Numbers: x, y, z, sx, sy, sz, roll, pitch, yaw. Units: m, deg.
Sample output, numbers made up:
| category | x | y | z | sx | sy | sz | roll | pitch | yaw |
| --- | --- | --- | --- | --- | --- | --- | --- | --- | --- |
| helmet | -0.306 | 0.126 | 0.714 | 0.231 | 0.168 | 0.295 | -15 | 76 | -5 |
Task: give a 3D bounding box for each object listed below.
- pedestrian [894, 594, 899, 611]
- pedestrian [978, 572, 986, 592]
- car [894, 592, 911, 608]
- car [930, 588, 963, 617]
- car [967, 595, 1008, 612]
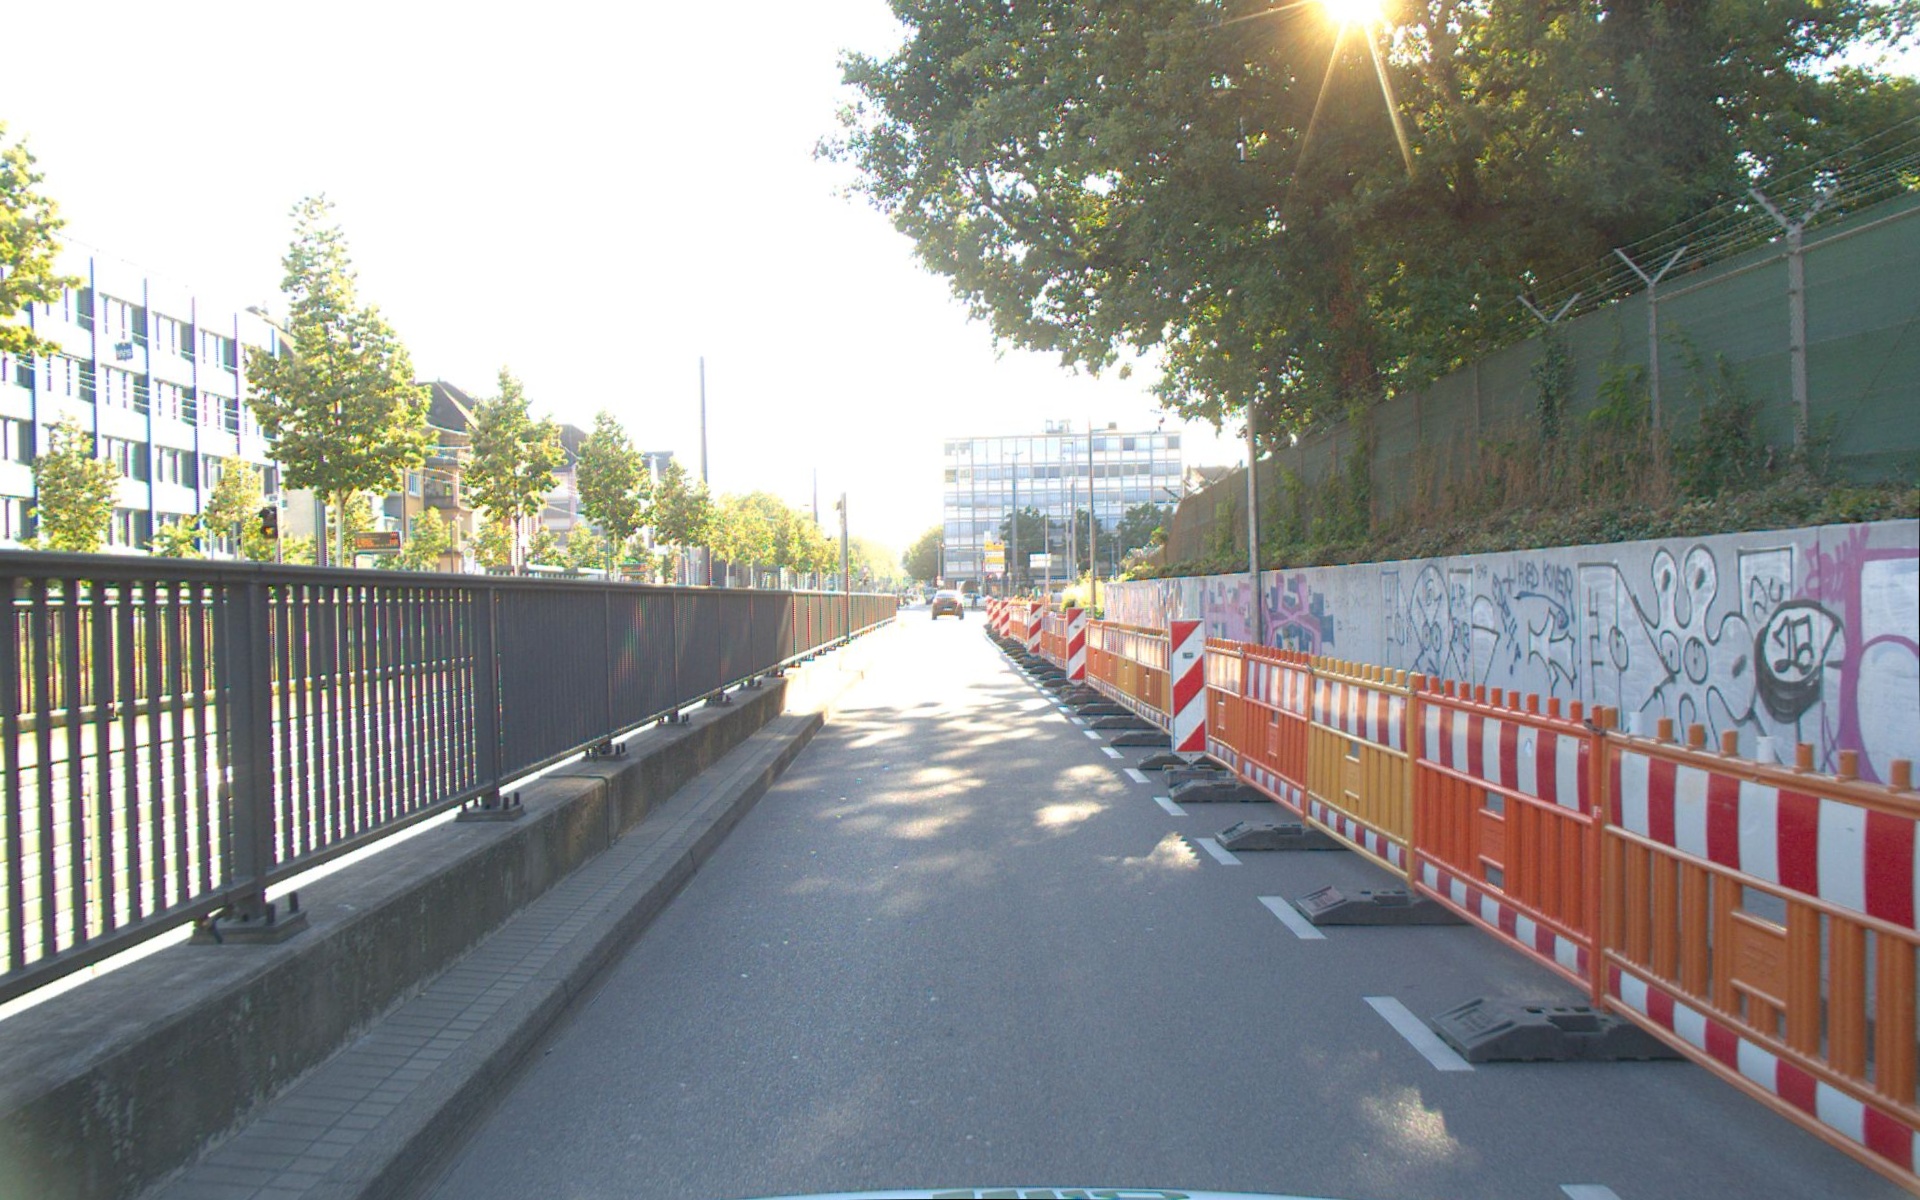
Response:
| category | x | y | z | sx | sy | sz | roll | pitch | yaw |
| --- | --- | --- | --- | --- | --- | --- | --- | --- | --- |
| pedestrian | -5.935 | 0.200 | 154.827 | 0.272 | 1.602 | 0.436 | 1 | -1 | -27 |
| pedestrian | 2.376 | -1.914 | 179.257 | 0.873 | 2.149 | 0.718 | -1 | 1 | 4 |
| car | -6.603 | -0.015 | 190.116 | 1.953 | 1.646 | 3.999 | -1 | 2 | -2 |
| car | -0.817 | 0.164 | 102.117 | 1.964 | 1.688 | 4.000 | 1 | 0 | 0 |
| car | 2.716 | 0.327 | 161.505 | 3.903 | 1.669 | 2.001 | 0 | -1 | 3 |
